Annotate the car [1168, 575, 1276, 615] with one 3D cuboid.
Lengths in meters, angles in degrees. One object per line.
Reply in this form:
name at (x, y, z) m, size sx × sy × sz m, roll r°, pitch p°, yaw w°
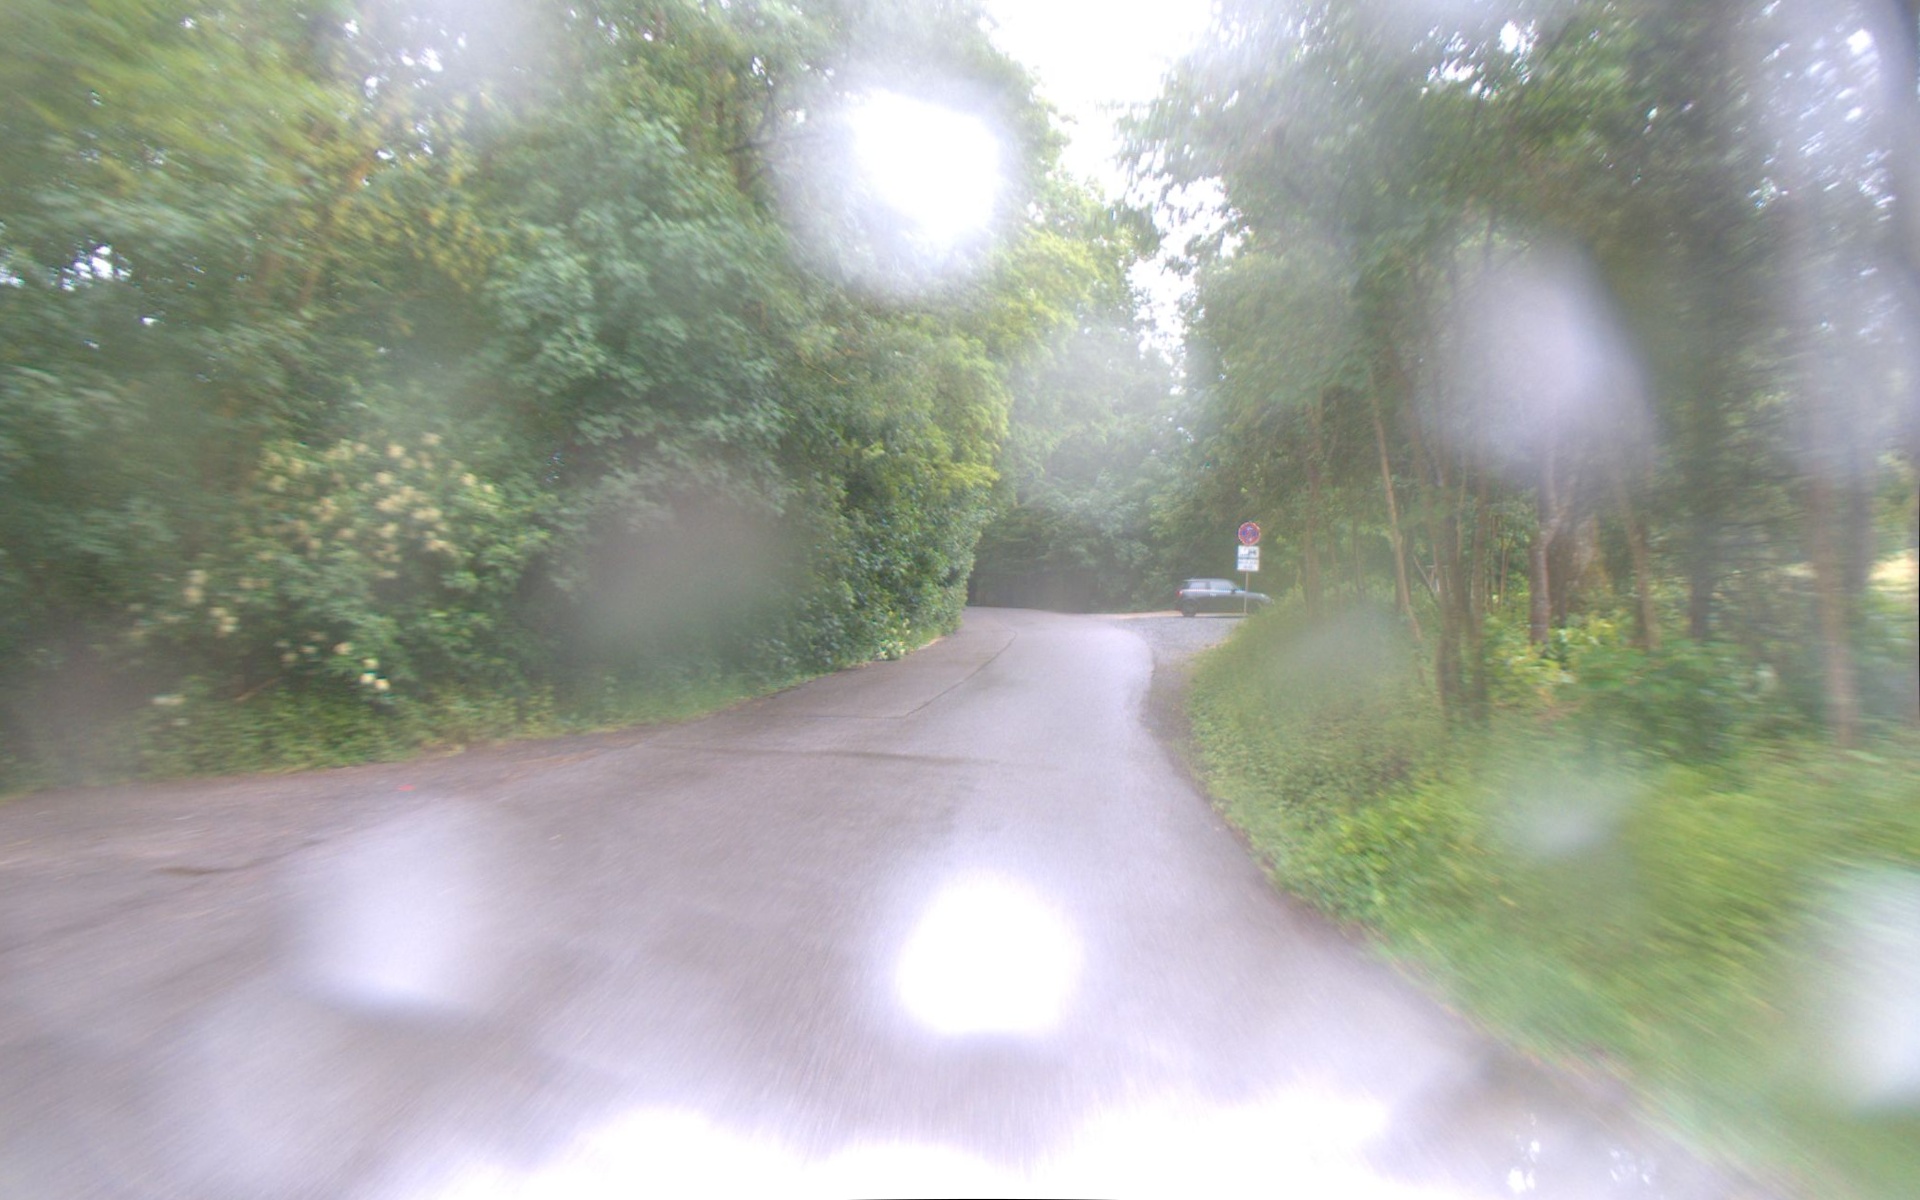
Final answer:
car at (9.860, -0.204, 62.488) m, size 3.903 × 1.415 × 2.001 m, roll -1°, pitch 1°, yaw 5°
